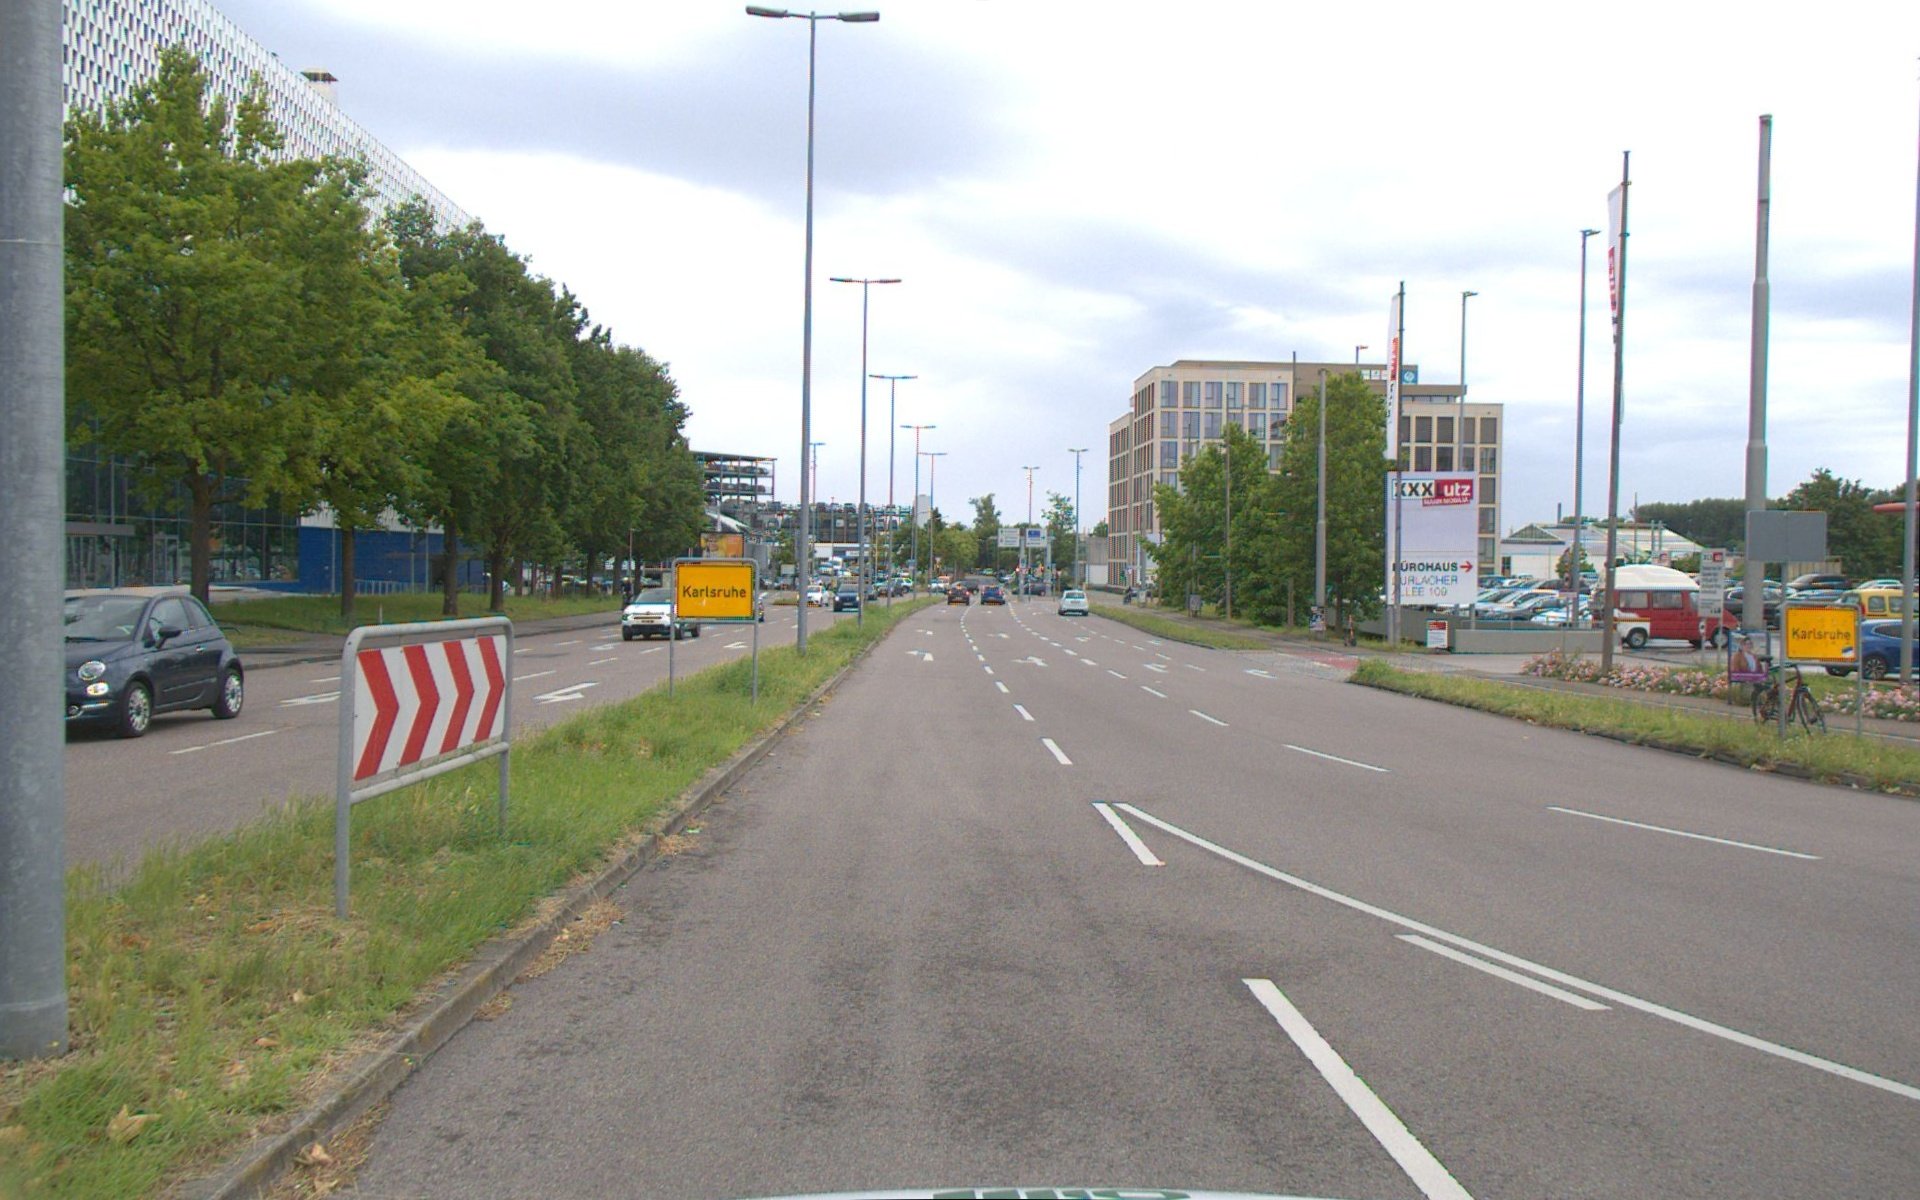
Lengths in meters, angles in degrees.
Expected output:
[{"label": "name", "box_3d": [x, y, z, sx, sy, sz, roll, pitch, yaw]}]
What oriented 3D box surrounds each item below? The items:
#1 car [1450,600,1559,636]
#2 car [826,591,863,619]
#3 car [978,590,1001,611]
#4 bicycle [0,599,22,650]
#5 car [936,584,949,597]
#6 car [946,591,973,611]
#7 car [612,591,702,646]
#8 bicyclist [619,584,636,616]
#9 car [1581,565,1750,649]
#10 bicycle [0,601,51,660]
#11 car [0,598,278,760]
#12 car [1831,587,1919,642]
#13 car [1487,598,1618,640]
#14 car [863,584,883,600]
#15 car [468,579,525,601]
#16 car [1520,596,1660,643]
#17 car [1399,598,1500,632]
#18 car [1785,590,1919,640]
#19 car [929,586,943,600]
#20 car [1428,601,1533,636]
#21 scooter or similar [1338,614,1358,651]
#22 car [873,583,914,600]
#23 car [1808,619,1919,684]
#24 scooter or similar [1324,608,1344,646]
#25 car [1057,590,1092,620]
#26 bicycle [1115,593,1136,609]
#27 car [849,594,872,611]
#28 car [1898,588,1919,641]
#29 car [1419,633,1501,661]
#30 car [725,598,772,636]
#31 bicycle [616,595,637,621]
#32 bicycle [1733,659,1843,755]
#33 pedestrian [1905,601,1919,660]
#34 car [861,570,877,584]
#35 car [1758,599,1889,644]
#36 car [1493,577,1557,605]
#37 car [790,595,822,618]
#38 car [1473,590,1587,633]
[{"label": "car", "box_3d": [22.915, 0.741, 69.667, 3.972, 1.373, 1.835, 1, 2, -2]}, {"label": "car", "box_3d": [-6.505, 0.267, 93.788, 1.892, 1.512, 4.438, -1, 0, -2]}, {"label": "car", "box_3d": [2.409, 0.023, 134.793, 1.797, 1.540, 4.001, 2, 2, 0]}, {"label": "bicycle", "box_3d": [-22.575, 0.516, 37.742, 1.974, 1.142, 0.594, 3, 0, 1]}, {"label": "car", "box_3d": [-2.139, -1.175, 204.363, 1.567, 1.478, 3.325, 1, 3, 1]}, {"label": "car", "box_3d": [-0.060, 0.100, 127.255, 1.947, 1.453, 4.240, 1, 0, -1]}, {"label": "car", "box_3d": [-9.086, 0.533, 49.849, 1.891, 1.545, 4.182, -2, 0, 0]}, {"label": "bicyclist", "box_3d": [-16.834, -0.009, 83.735, 0.627, 1.604, 1.000, 2, 1, -1]}, {"label": "car", "box_3d": [23.373, 0.201, 54.934, 4.625, 2.624, 2.171, 1, 2, 1]}, {"label": "bicycle", "box_3d": [-20.770, 0.637, 35.831, 1.973, 1.177, 0.594, 3, 0, 14]}, {"label": "car", "box_3d": [-9.075, 0.770, 18.116, 1.570, 1.524, 4.036, -1, 0, -1]}, {"label": "car", "box_3d": [32.530, 0.507, 57.397, 3.659, 1.798, 1.734, 1, 2, 1]}, {"label": "car", "box_3d": [22.989, 0.733, 64.267, 4.373, 1.443, 1.868, 1, 2, 1]}, {"label": "car", "box_3d": [-8.489, -0.793, 162.429, 1.743, 1.481, 4.182, -1, 1, 0]}, {"label": "car", "box_3d": [-44.711, -0.994, 159.621, 5.031, 1.997, 1.880, 0, 5, -4]}, {"label": "car", "box_3d": [22.709, 0.688, 59.737, 4.284, 1.486, 1.961, 1, 2, 1]}, {"label": "car", "box_3d": [22.481, 0.688, 76.084, 4.068, 1.373, 1.810, 1, 2, -2]}, {"label": "car", "box_3d": [32.289, 0.527, 59.838, 3.905, 1.623, 1.880, 1, 2, 0]}, {"label": "car", "box_3d": [-2.820, -0.808, 196.227, 1.567, 1.478, 3.325, 1, 3, 1]}, {"label": "car", "box_3d": [22.661, 0.791, 72.108, 3.972, 1.373, 1.764, 1, 2, -2]}, {"label": "scooter or similar", "box_3d": [13.212, 1.099, 56.362, 0.362, 1.211, 1.248, 0, 1, -1]}, {"label": "car", "box_3d": [-7.191, -0.914, 178.625, 4.331, 1.689, 1.997, 1, 0, -6]}, {"label": "car", "box_3d": [22.912, 1.243, 39.966, 3.905, 1.480, 1.814, 1, 0, 0]}, {"label": "scooter or similar", "box_3d": [14.695, 1.050, 64.987, 0.636, 1.446, 1.820, 0, 0, 8]}, {"label": "car", "box_3d": [7.056, 0.285, 102.544, 1.952, 1.782, 4.181, 1, 1, 1]}, {"label": "bicycle", "box_3d": [14.870, 0.102, 148.837, 0.694, 1.318, 1.986, 1, 1, -35]}, {"label": "car", "box_3d": [-8.722, 0.207, 144.659, 1.735, 1.477, 4.405, -1, 0, 0]}, {"label": "car", "box_3d": [32.168, 0.513, 51.951, 4.320, 1.611, 1.835, 1, 2, 1]}, {"label": "car", "box_3d": [27.691, 2.582, 91.611, 3.972, 1.374, 1.763, 1, 0, -2]}, {"label": "car", "box_3d": [-9.138, 0.697, 71.677, 1.847, 1.461, 4.426, -2, 1, -6]}, {"label": "bicycle", "box_3d": [-16.868, 0.406, 83.720, 0.629, 1.272, 2.056, 2, 1, -1]}, {"label": "bicycle", "box_3d": [10.200, 1.296, 20.437, 0.649, 1.067, 1.692, 1, 0, 6]}, {"label": "pedestrian", "box_3d": [29.393, 0.920, 50.142, 0.920, 1.749, 0.885, 1, 2, -2]}, {"label": "car", "box_3d": [-13.000, -3.287, 236.429, 1.738, 1.735, 3.920, 1, 3, 5]}, {"label": "car", "box_3d": [32.445, 0.802, 62.220, 3.906, 1.561, 1.888, 1, 0, -2]}, {"label": "car", "box_3d": [36.380, -0.613, 106.522, 3.556, 1.661, 1.702, 1, 2, 4]}, {"label": "car", "box_3d": [-10.564, 0.436, 114.017, 1.828, 1.480, 4.168, -1, 0, 0]}, {"label": "car", "box_3d": [23.055, 0.468, 66.986, 3.970, 1.567, 1.764, 1, 2, 1]}]
